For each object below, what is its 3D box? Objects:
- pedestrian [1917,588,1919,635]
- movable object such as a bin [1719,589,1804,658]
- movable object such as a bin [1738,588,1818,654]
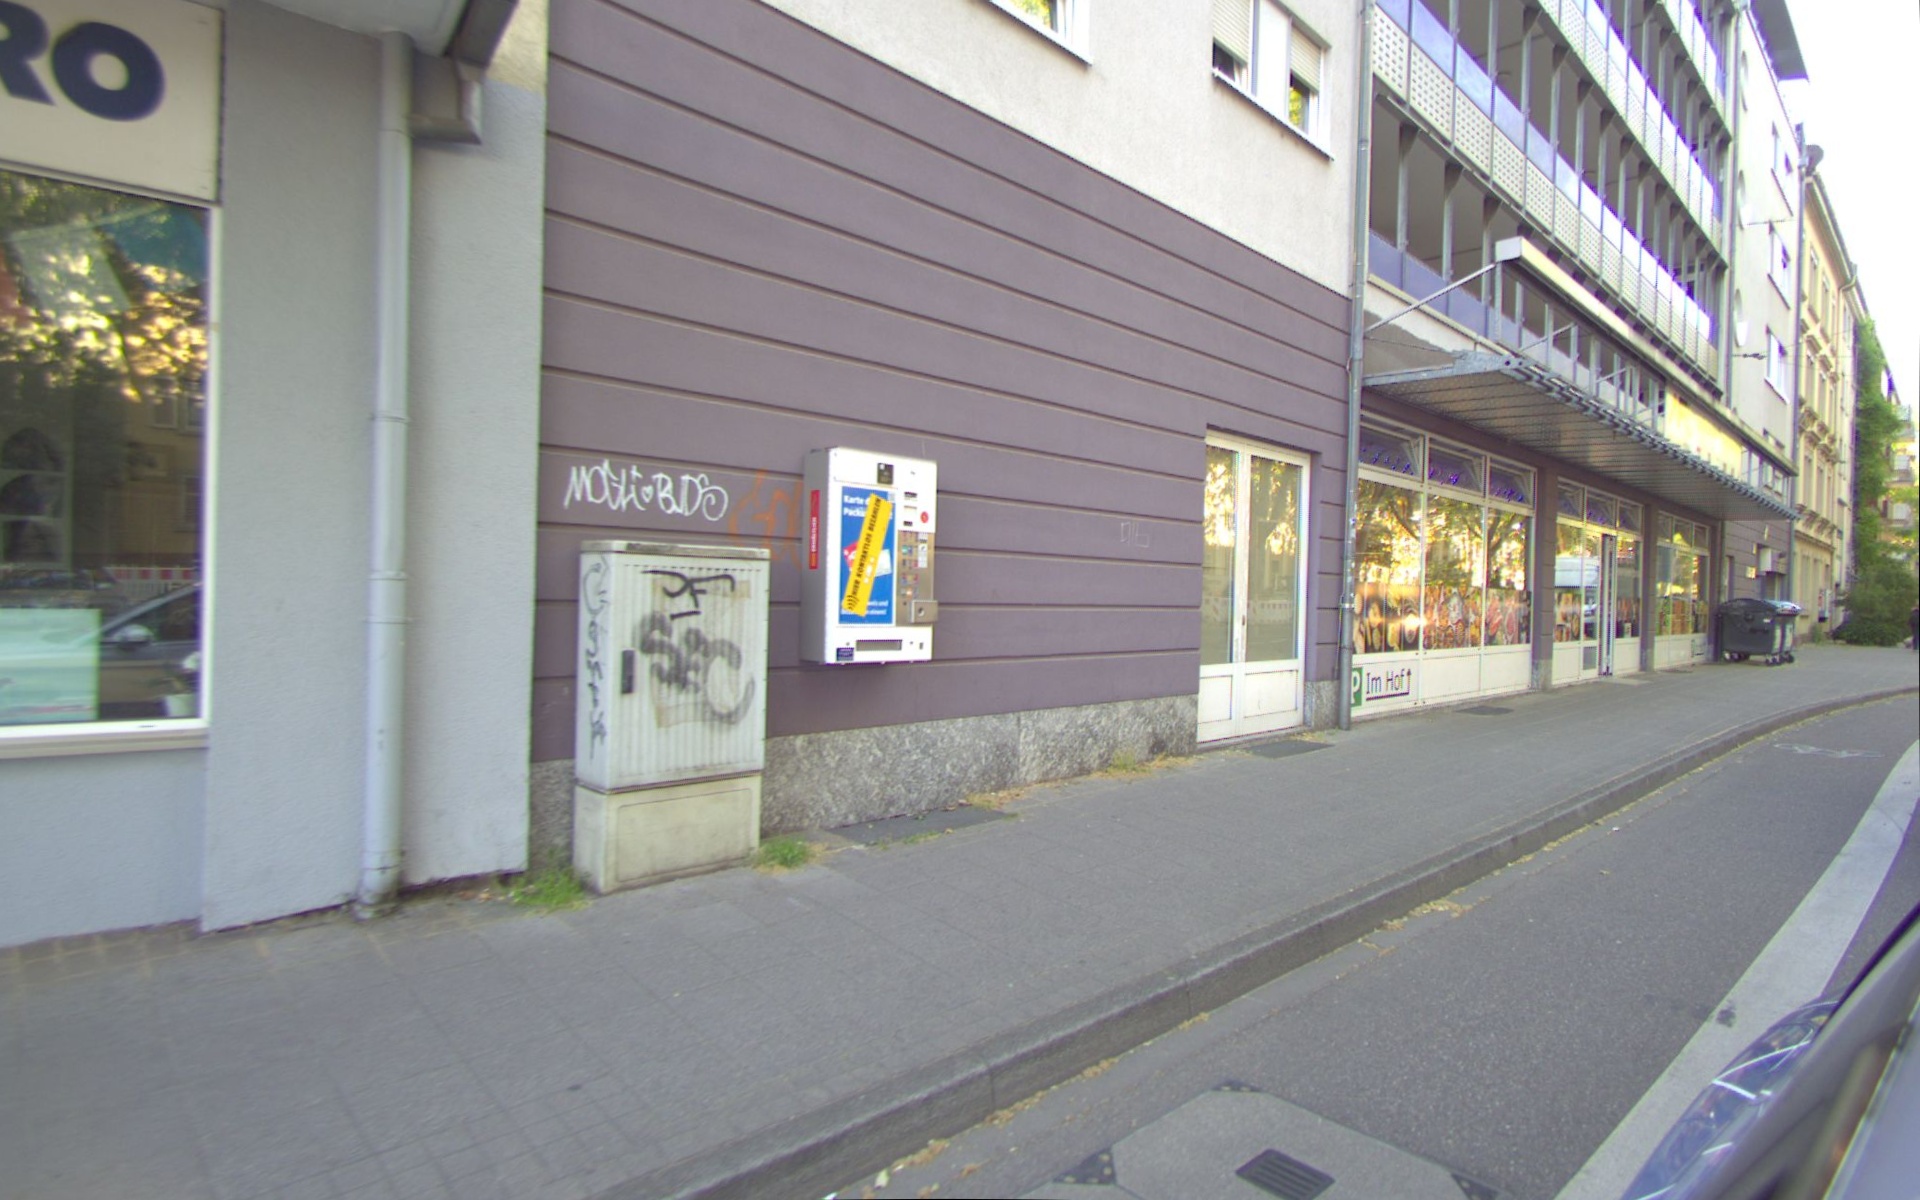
[{"bbox_3d":[34.832,0.436,36.373,0.504,1.693,0.540,1,1,-41],"label":"pedestrian"},{"bbox_3d":[17.481,0.489,22.076,1.348,1.427,1.203,1,1,-41],"label":"movable object such as a bin"},{"bbox_3d":[18.921,0.468,23.414,1.348,1.427,1.203,1,1,-41],"label":"movable object such as a bin"}]
